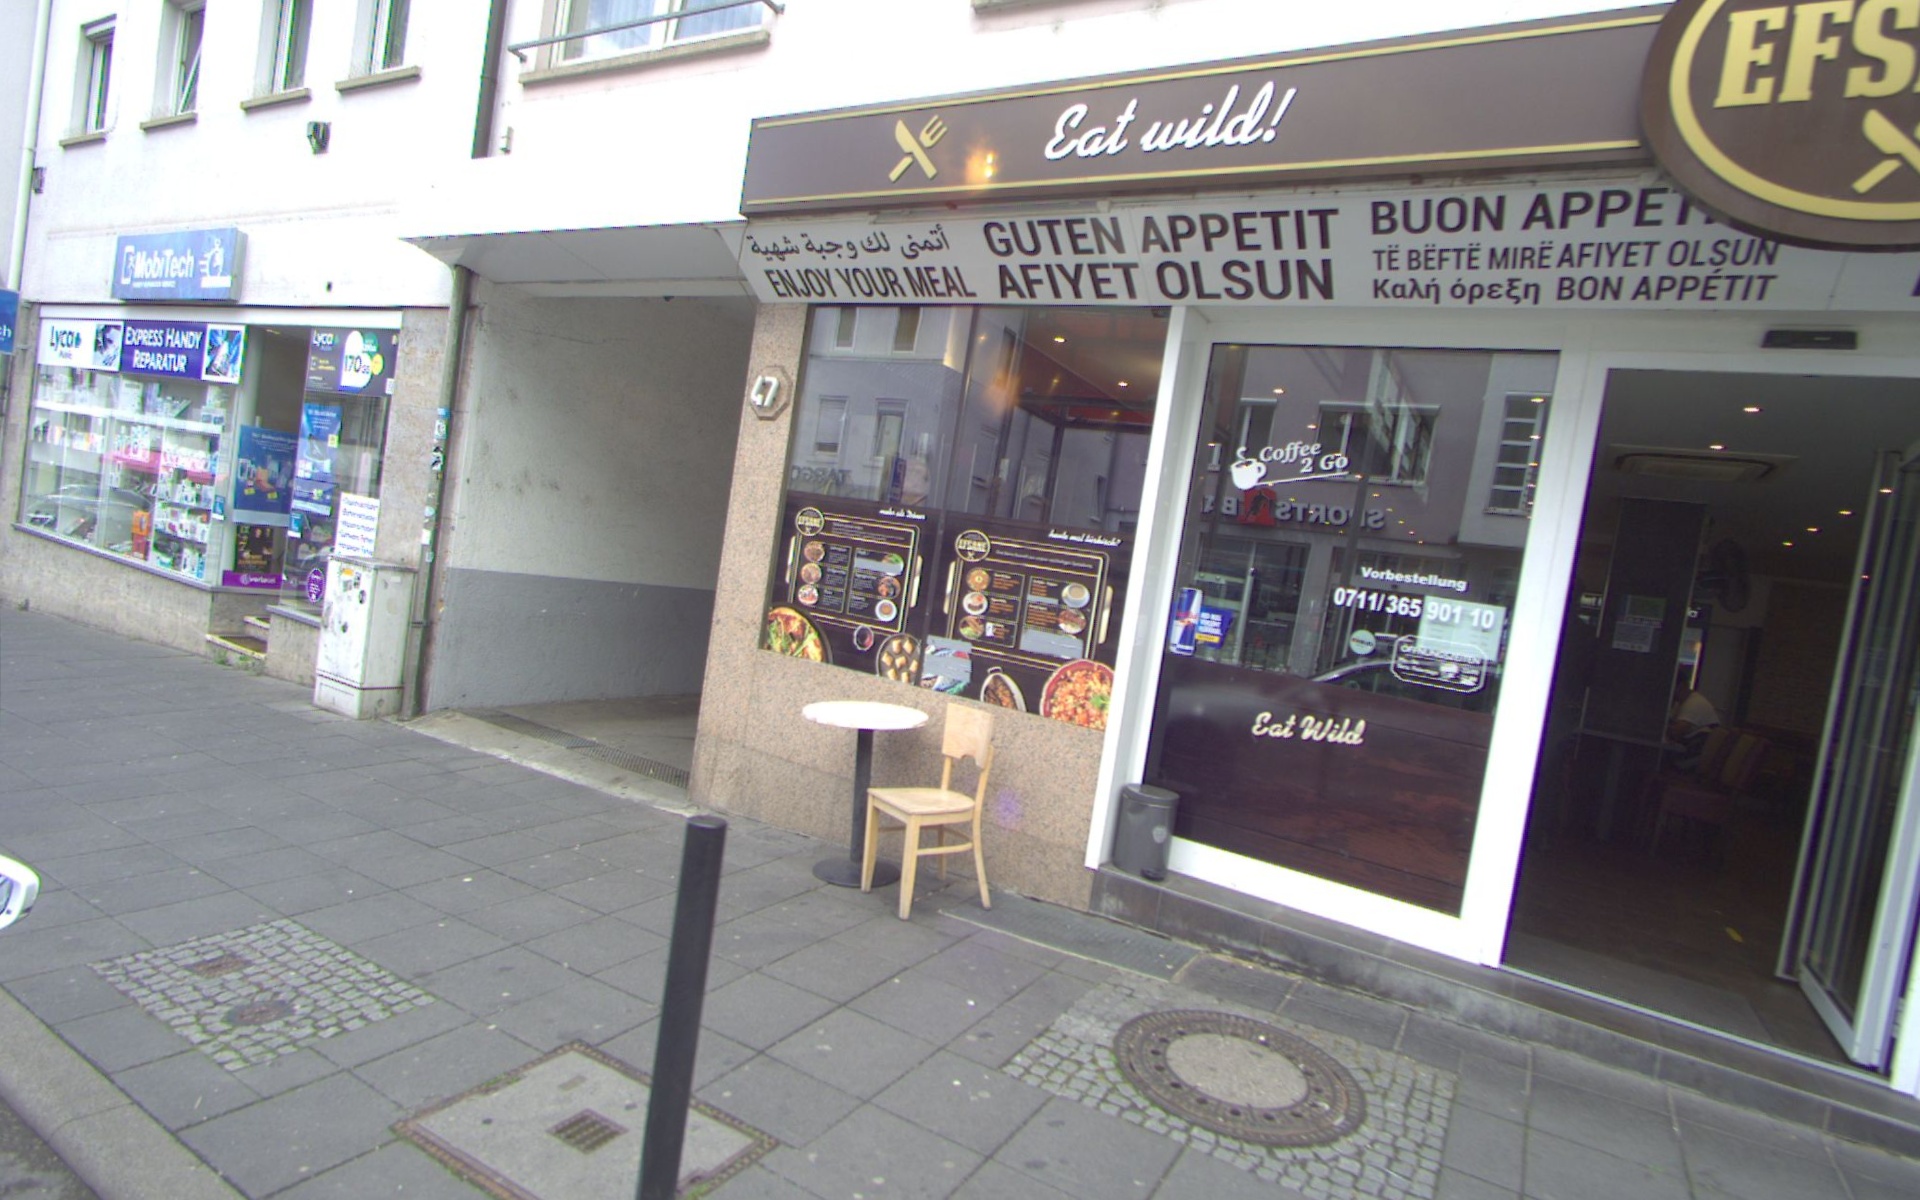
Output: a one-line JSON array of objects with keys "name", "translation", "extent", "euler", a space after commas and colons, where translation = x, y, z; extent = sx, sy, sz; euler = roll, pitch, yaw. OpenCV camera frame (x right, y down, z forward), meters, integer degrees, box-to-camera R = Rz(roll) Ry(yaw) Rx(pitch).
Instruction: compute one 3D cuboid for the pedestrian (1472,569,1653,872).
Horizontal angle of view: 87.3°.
[{"name": "pedestrian", "translation": [3.769, 0.727, 6.350], "extent": [0.595, 1.747, 0.628], "euler": [7, 0, 8]}]
